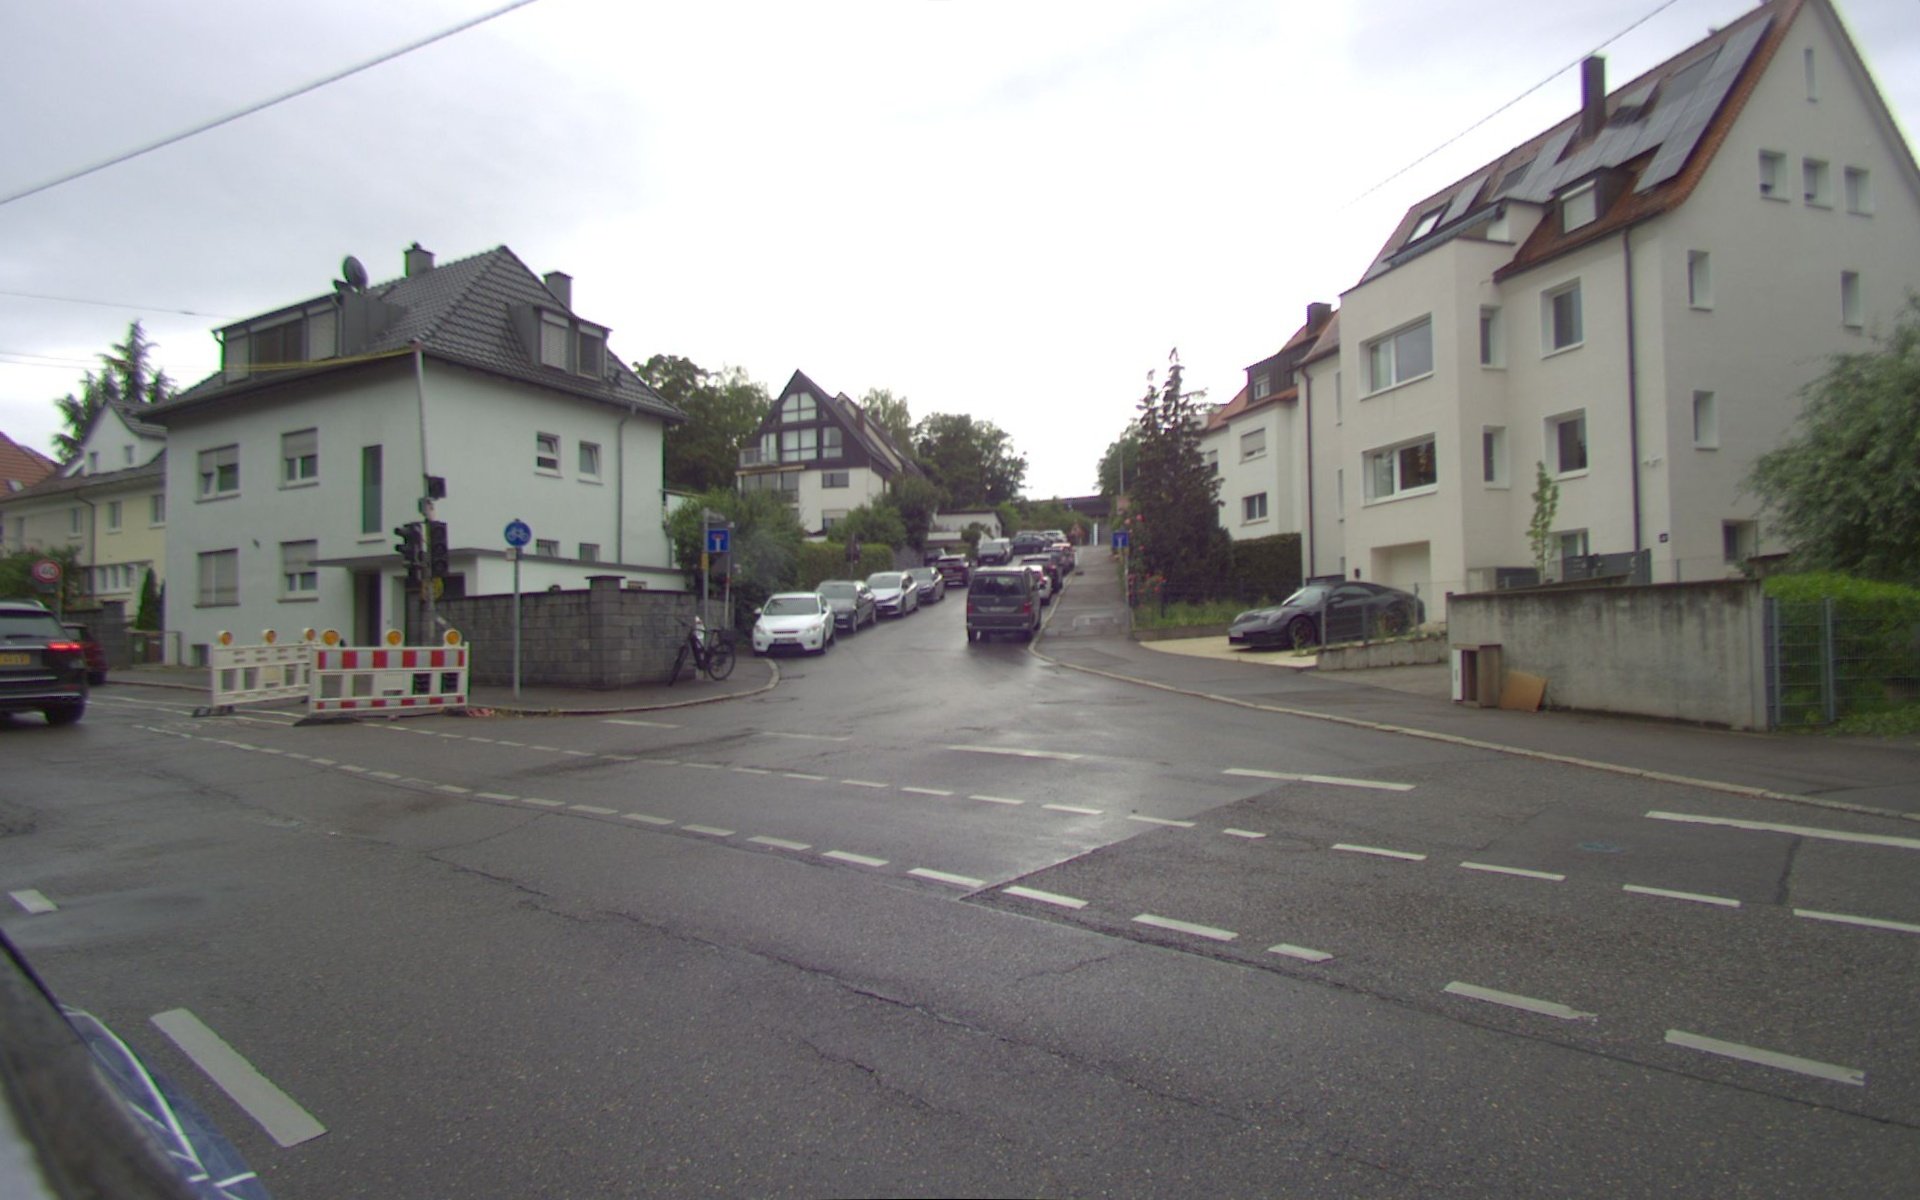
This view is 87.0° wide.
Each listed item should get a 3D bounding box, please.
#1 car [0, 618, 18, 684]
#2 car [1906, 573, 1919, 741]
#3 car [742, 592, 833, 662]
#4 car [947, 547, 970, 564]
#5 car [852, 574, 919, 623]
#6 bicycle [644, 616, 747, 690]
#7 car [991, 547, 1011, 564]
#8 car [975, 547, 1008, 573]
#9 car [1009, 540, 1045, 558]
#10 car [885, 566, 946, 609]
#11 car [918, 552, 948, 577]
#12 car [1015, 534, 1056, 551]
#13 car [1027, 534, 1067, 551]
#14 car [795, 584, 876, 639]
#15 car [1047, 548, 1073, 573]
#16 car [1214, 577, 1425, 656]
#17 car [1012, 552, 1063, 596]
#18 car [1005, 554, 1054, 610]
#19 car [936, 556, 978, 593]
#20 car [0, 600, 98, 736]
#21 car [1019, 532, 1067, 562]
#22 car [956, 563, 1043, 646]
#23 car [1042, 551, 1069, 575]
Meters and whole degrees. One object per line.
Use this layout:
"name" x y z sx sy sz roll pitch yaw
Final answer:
"car" -26.158 1.319 25.778 4.131 1.653 1.782 -1 -1 25
"car" 10.600 0.422 8.553 3.934 1.497 1.780 -2 -1 -12
"car" -4.359 0.625 26.160 1.827 1.473 4.124 -1 3 -3
"car" -0.088 -3.260 74.026 1.559 1.220 3.650 -1 3 2
"car" -2.663 -0.085 37.091 1.738 1.481 3.940 -1 4 6
"bicycle" -4.791 0.932 18.462 0.508 1.249 1.984 1 0 32
"car" 3.052 -3.327 74.716 1.292 1.206 2.980 -1 3 5
"car" 2.190 -2.671 68.890 1.770 1.531 4.016 -1 0 9
"car" 5.547 -4.200 83.659 2.914 1.328 1.282 -1 0 4
"car" -1.812 -0.553 42.964 1.903 1.448 4.100 -1 5 7
"car" -1.833 -2.419 69.798 1.793 1.566 4.009 -1 0 3
"car" 7.384 -5.591 98.793 3.922 1.528 1.748 -1 0 6
"car" 8.932 -5.902 103.919 3.782 1.529 1.664 -1 -1 15
"car" -3.832 0.319 31.823 1.702 1.397 3.900 -1 4 6
"car" 6.232 -2.449 62.853 1.488 1.373 3.465 -1 0 8
"car" 7.702 0.333 21.777 3.942 1.290 1.613 -5 1 -13
"car" 3.516 -1.194 45.381 1.823 1.699 4.039 -1 5 11
"car" 2.814 -0.755 40.328 1.686 1.843 4.194 -1 6 7
"car" -0.120 -1.363 52.470 1.623 1.637 3.992 -1 5 8
"car" -14.365 0.940 14.352 4.537 1.761 1.964 -2 -1 31
"car" 7.196 -4.564 87.648 3.954 2.028 1.995 -5 -1 8
"car" 1.237 0.050 29.330 1.978 2.028 4.482 -1 4 9
"car" 5.497 -2.144 58.116 1.274 1.325 2.984 -1 3 10
